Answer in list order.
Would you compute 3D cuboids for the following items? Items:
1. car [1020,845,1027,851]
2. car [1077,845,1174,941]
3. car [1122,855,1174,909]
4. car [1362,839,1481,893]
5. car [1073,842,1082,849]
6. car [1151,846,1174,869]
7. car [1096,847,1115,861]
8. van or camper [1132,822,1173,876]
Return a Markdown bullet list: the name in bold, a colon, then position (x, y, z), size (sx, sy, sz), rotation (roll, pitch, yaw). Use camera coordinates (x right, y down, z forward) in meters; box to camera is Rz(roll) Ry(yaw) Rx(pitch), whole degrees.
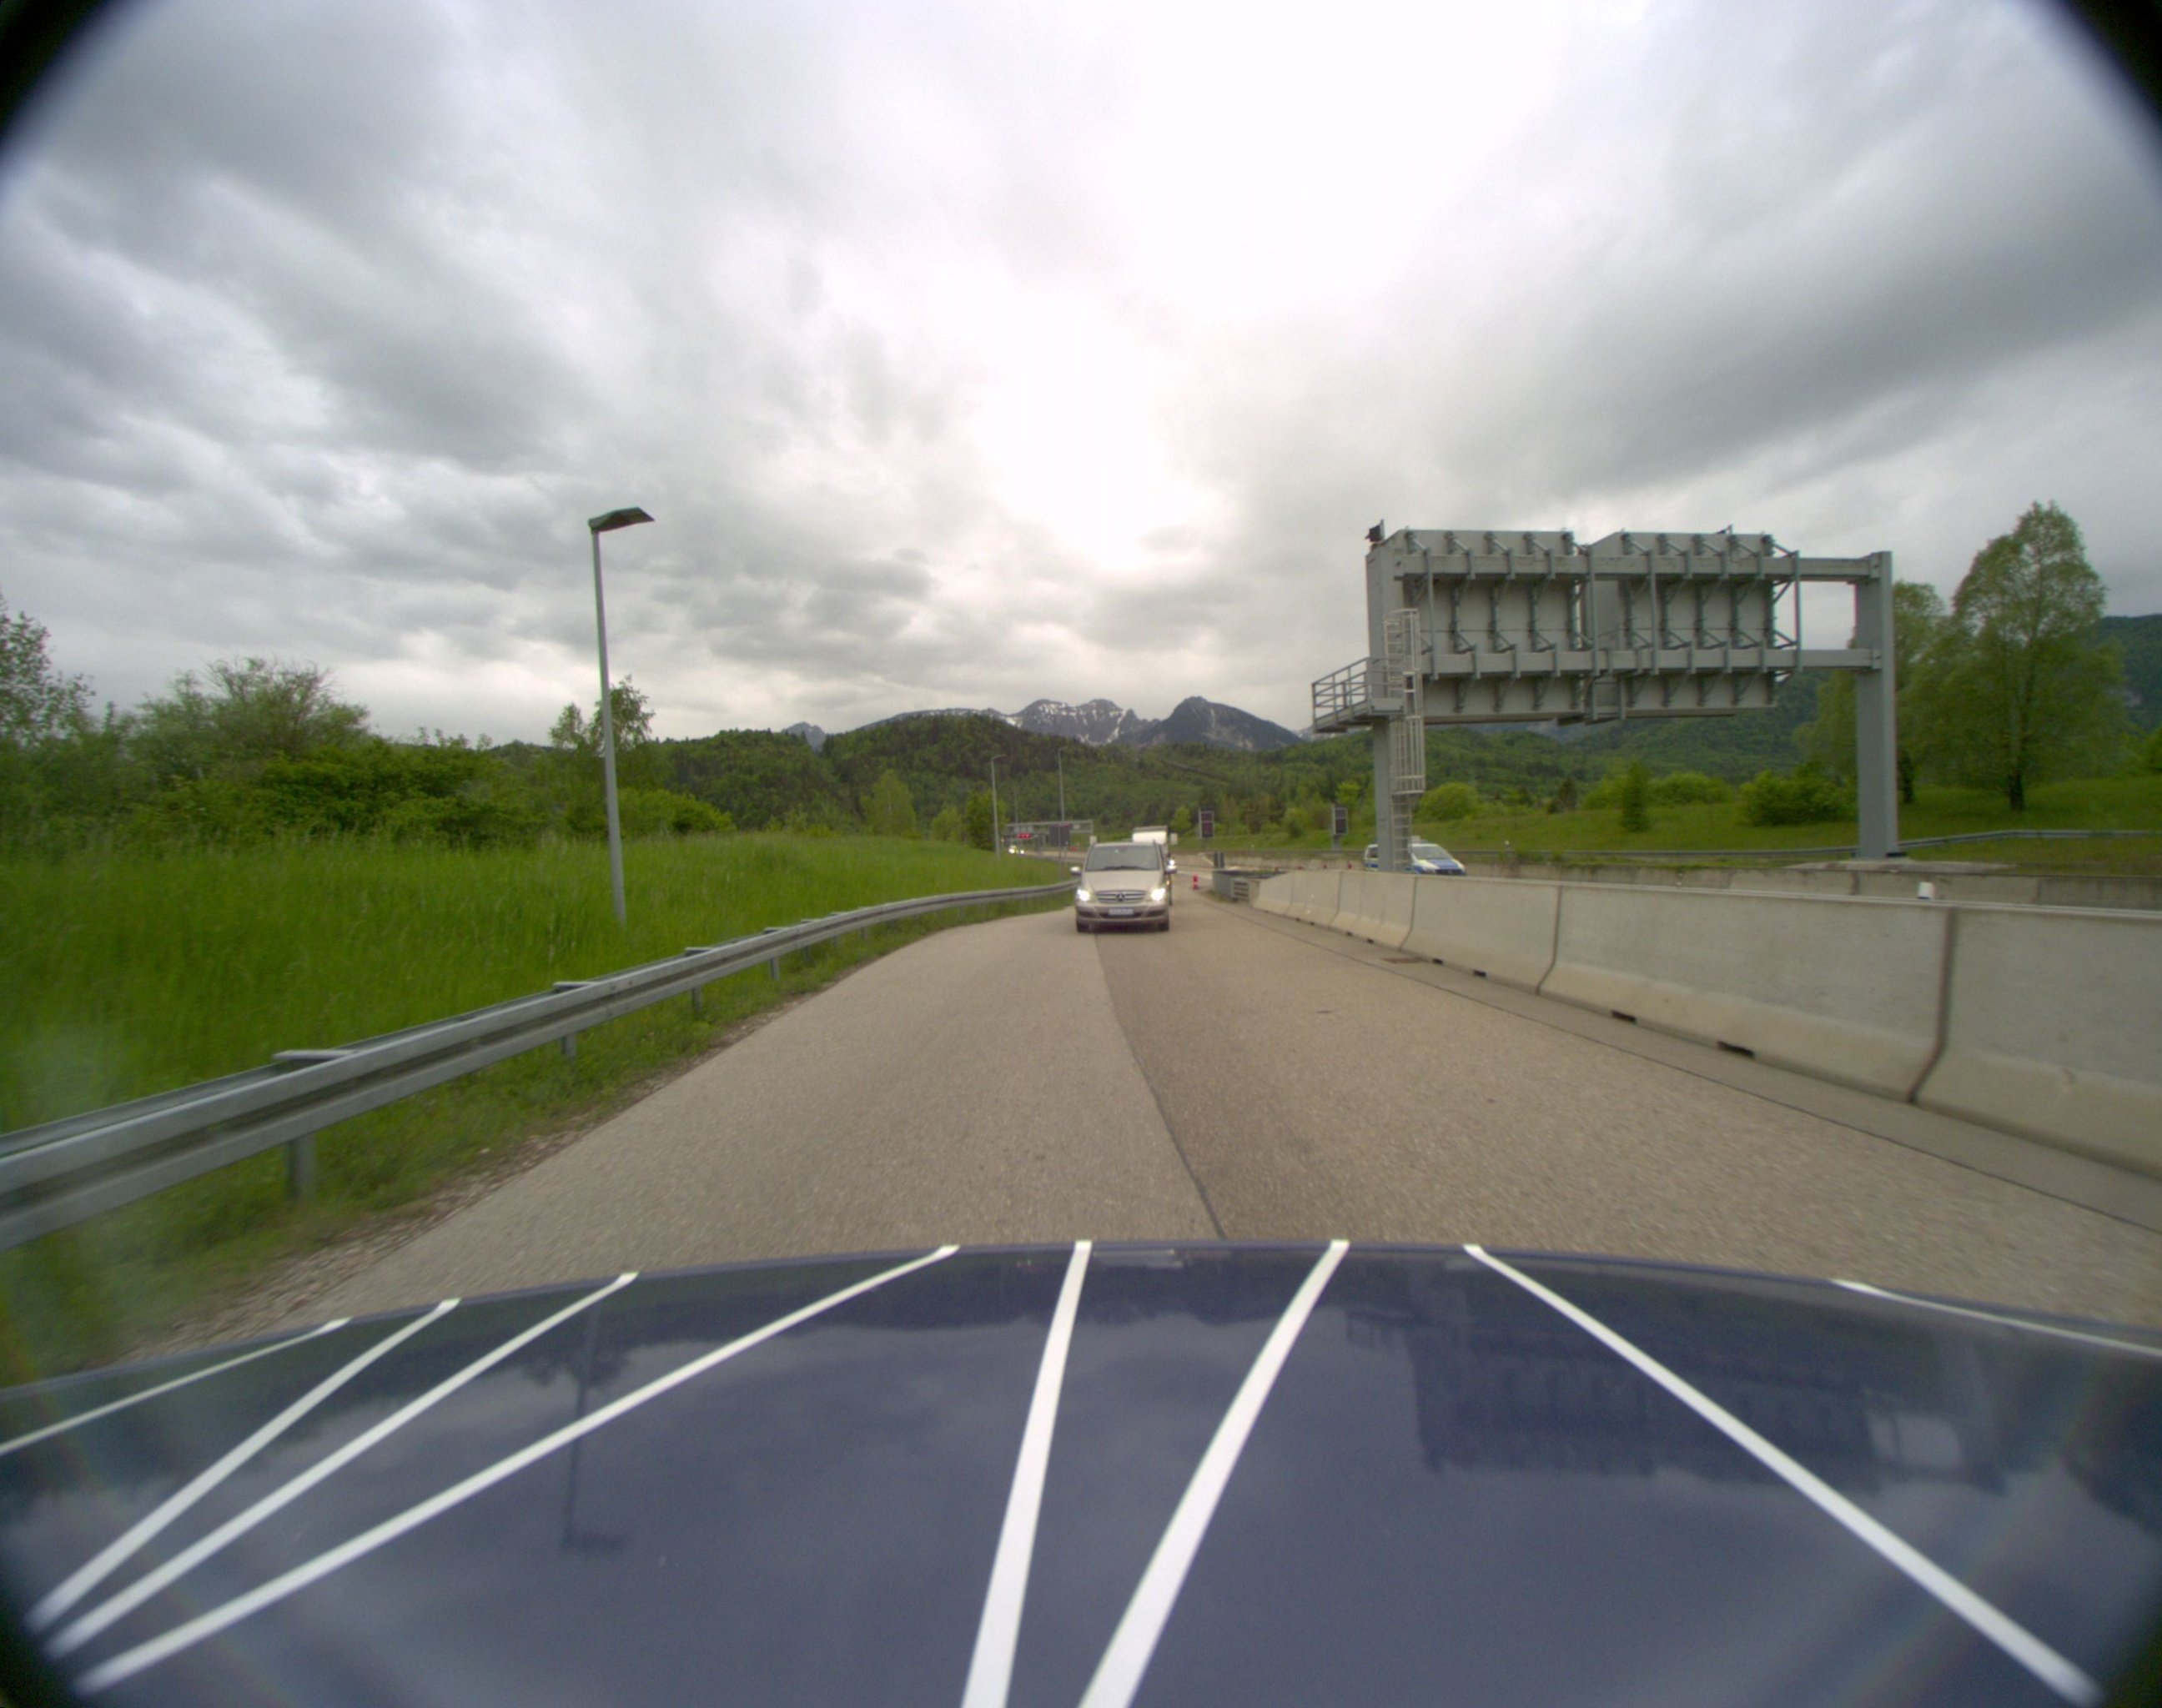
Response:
- **car**: position (-16.985, -1.675, 223.887), size (1.738, 1.646, 3.997), rotation (-1, 1, -8)
- **car**: position (1.121, 0.728, 17.360), size (1.861, 1.833, 5.619), rotation (0, 1, 6)
- **car**: position (2.316, 0.892, 25.861), size (1.590, 1.662, 4.002), rotation (-1, 0, 6)
- **car**: position (13.838, 0.418, 31.266), size (2.105, 2.002, 5.048), rotation (-1, 1, -8)
- **car**: position (-1.091, -2.358, 214.714), size (1.740, 1.935, 4.169), rotation (-2, 1, -10)
- **car**: position (6.738, 0.278, 63.132), size (1.741, 1.755, 4.001), rotation (-4, 0, 4)
- **car**: position (3.072, -0.006, 95.960), size (1.721, 1.629, 4.345), rotation (-1, 1, -7)
- **van or camper**: position (4.913, -0.334, 51.902), size (2.581, 3.372, 7.358), rotation (-1, 1, 6)
